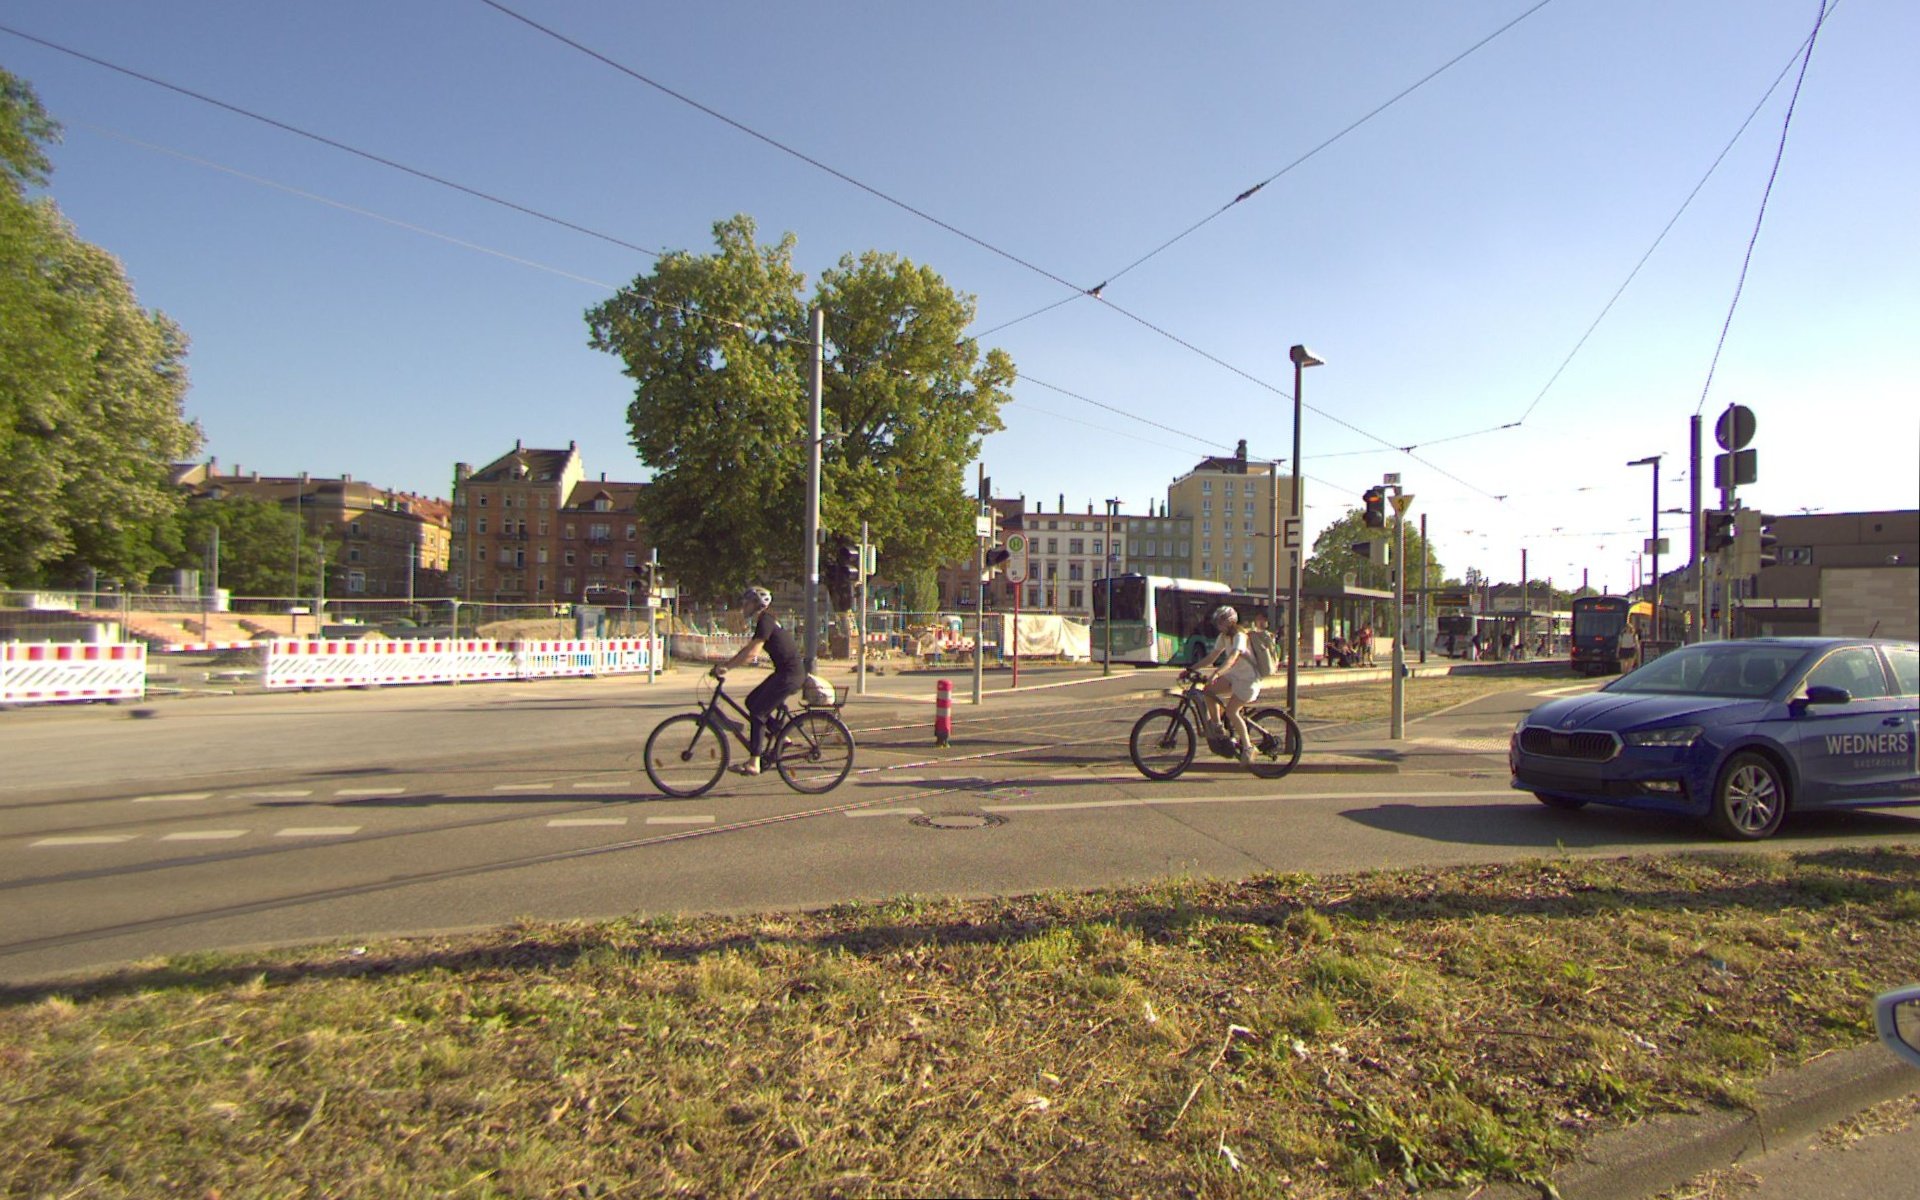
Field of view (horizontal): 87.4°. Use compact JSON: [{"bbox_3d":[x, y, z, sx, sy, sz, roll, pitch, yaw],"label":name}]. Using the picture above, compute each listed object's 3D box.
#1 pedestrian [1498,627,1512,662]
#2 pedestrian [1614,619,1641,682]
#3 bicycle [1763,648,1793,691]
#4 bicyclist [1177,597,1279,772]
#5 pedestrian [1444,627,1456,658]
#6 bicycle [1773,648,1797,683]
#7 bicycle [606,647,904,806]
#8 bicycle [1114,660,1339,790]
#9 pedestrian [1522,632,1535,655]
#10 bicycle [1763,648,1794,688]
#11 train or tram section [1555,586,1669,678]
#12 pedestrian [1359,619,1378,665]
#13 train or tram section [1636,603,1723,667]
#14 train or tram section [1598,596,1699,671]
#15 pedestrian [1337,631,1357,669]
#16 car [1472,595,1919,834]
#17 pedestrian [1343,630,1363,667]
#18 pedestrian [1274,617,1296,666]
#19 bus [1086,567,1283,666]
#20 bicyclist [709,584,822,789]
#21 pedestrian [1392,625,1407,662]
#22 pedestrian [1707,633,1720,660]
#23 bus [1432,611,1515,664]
[{"bbox_3d":[28.514,2.324,52.570,0.628,1.772,0.571,0,-2,26],"label":"pedestrian"},{"bbox_3d":[18.878,1.417,28.414,0.629,1.772,0.570,0,-2,34],"label":"pedestrian"},{"bbox_3d":[23.092,1.943,28.336,0.599,1.129,1.888,2,0,40],"label":"bicycle"},{"bbox_3d":[2.689,0.830,10.116,0.731,1.679,0.709,1,-1,-16],"label":"bicyclist"},{"bbox_3d":[28.321,2.463,58.028,0.562,1.772,0.638,0,-2,33],"label":"pedestrian"},{"bbox_3d":[28.229,2.228,34.362,0.599,1.129,1.888,2,0,40],"label":"bicycle"},{"bbox_3d":[-1.738,1.058,8.677,2.416,1.266,0.674,1,-4,-16],"label":"bicycle"},{"bbox_3d":[2.680,1.221,10.093,2.147,1.196,0.674,1,-2,-16],"label":"bicycle"},{"bbox_3d":[43.048,3.293,76.013,0.636,1.772,0.726,2,-2,-45],"label":"pedestrian"},{"bbox_3d":[24.335,2.003,29.856,0.600,1.129,1.887,2,0,41],"label":"bicycle"},{"bbox_3d":[30.238,1.467,46.265,2.847,3.644,12.142,2,0,40],"label":"train or tram section"},{"bbox_3d":[15.879,1.644,39.044,0.563,1.772,0.638,0,-2,35],"label":"pedestrian"},{"bbox_3d":[46.266,2.232,64.363,3.007,3.644,11.984,2,0,43],"label":"train or tram section"},{"bbox_3d":[38.195,1.854,55.442,2.978,3.644,12.135,2,0,42],"label":"train or tram section"},{"bbox_3d":[14.254,1.840,36.998,0.608,1.358,0.439,0,-2,36],"label":"pedestrian"},{"bbox_3d":[6.381,0.898,8.091,3.859,1.594,1.738,2,-4,-15],"label":"car"},{"bbox_3d":[14.693,1.807,37.541,0.563,1.363,0.638,0,-2,35],"label":"pedestrian"},{"bbox_3d":[11.730,1.493,36.227,0.556,1.772,0.532,2,-2,-43],"label":"pedestrian"},{"bbox_3d":[8.530,0.653,36.990,2.624,3.177,9.592,2,0,42],"label":"bus"},{"bbox_3d":[-1.699,0.741,8.707,0.886,1.678,0.709,1,-4,-16],"label":"bicyclist"},{"bbox_3d":[21.154,2.089,48.318,0.628,1.772,0.571,0,-2,26],"label":"pedestrian"},{"bbox_3d":[50.567,3.112,67.384,0.598,1.772,0.826,-1,-2,44],"label":"pedestrian"},{"bbox_3d":[36.072,2.582,70.177,2.686,3.317,13.412,2,0,38],"label":"bus"}]
